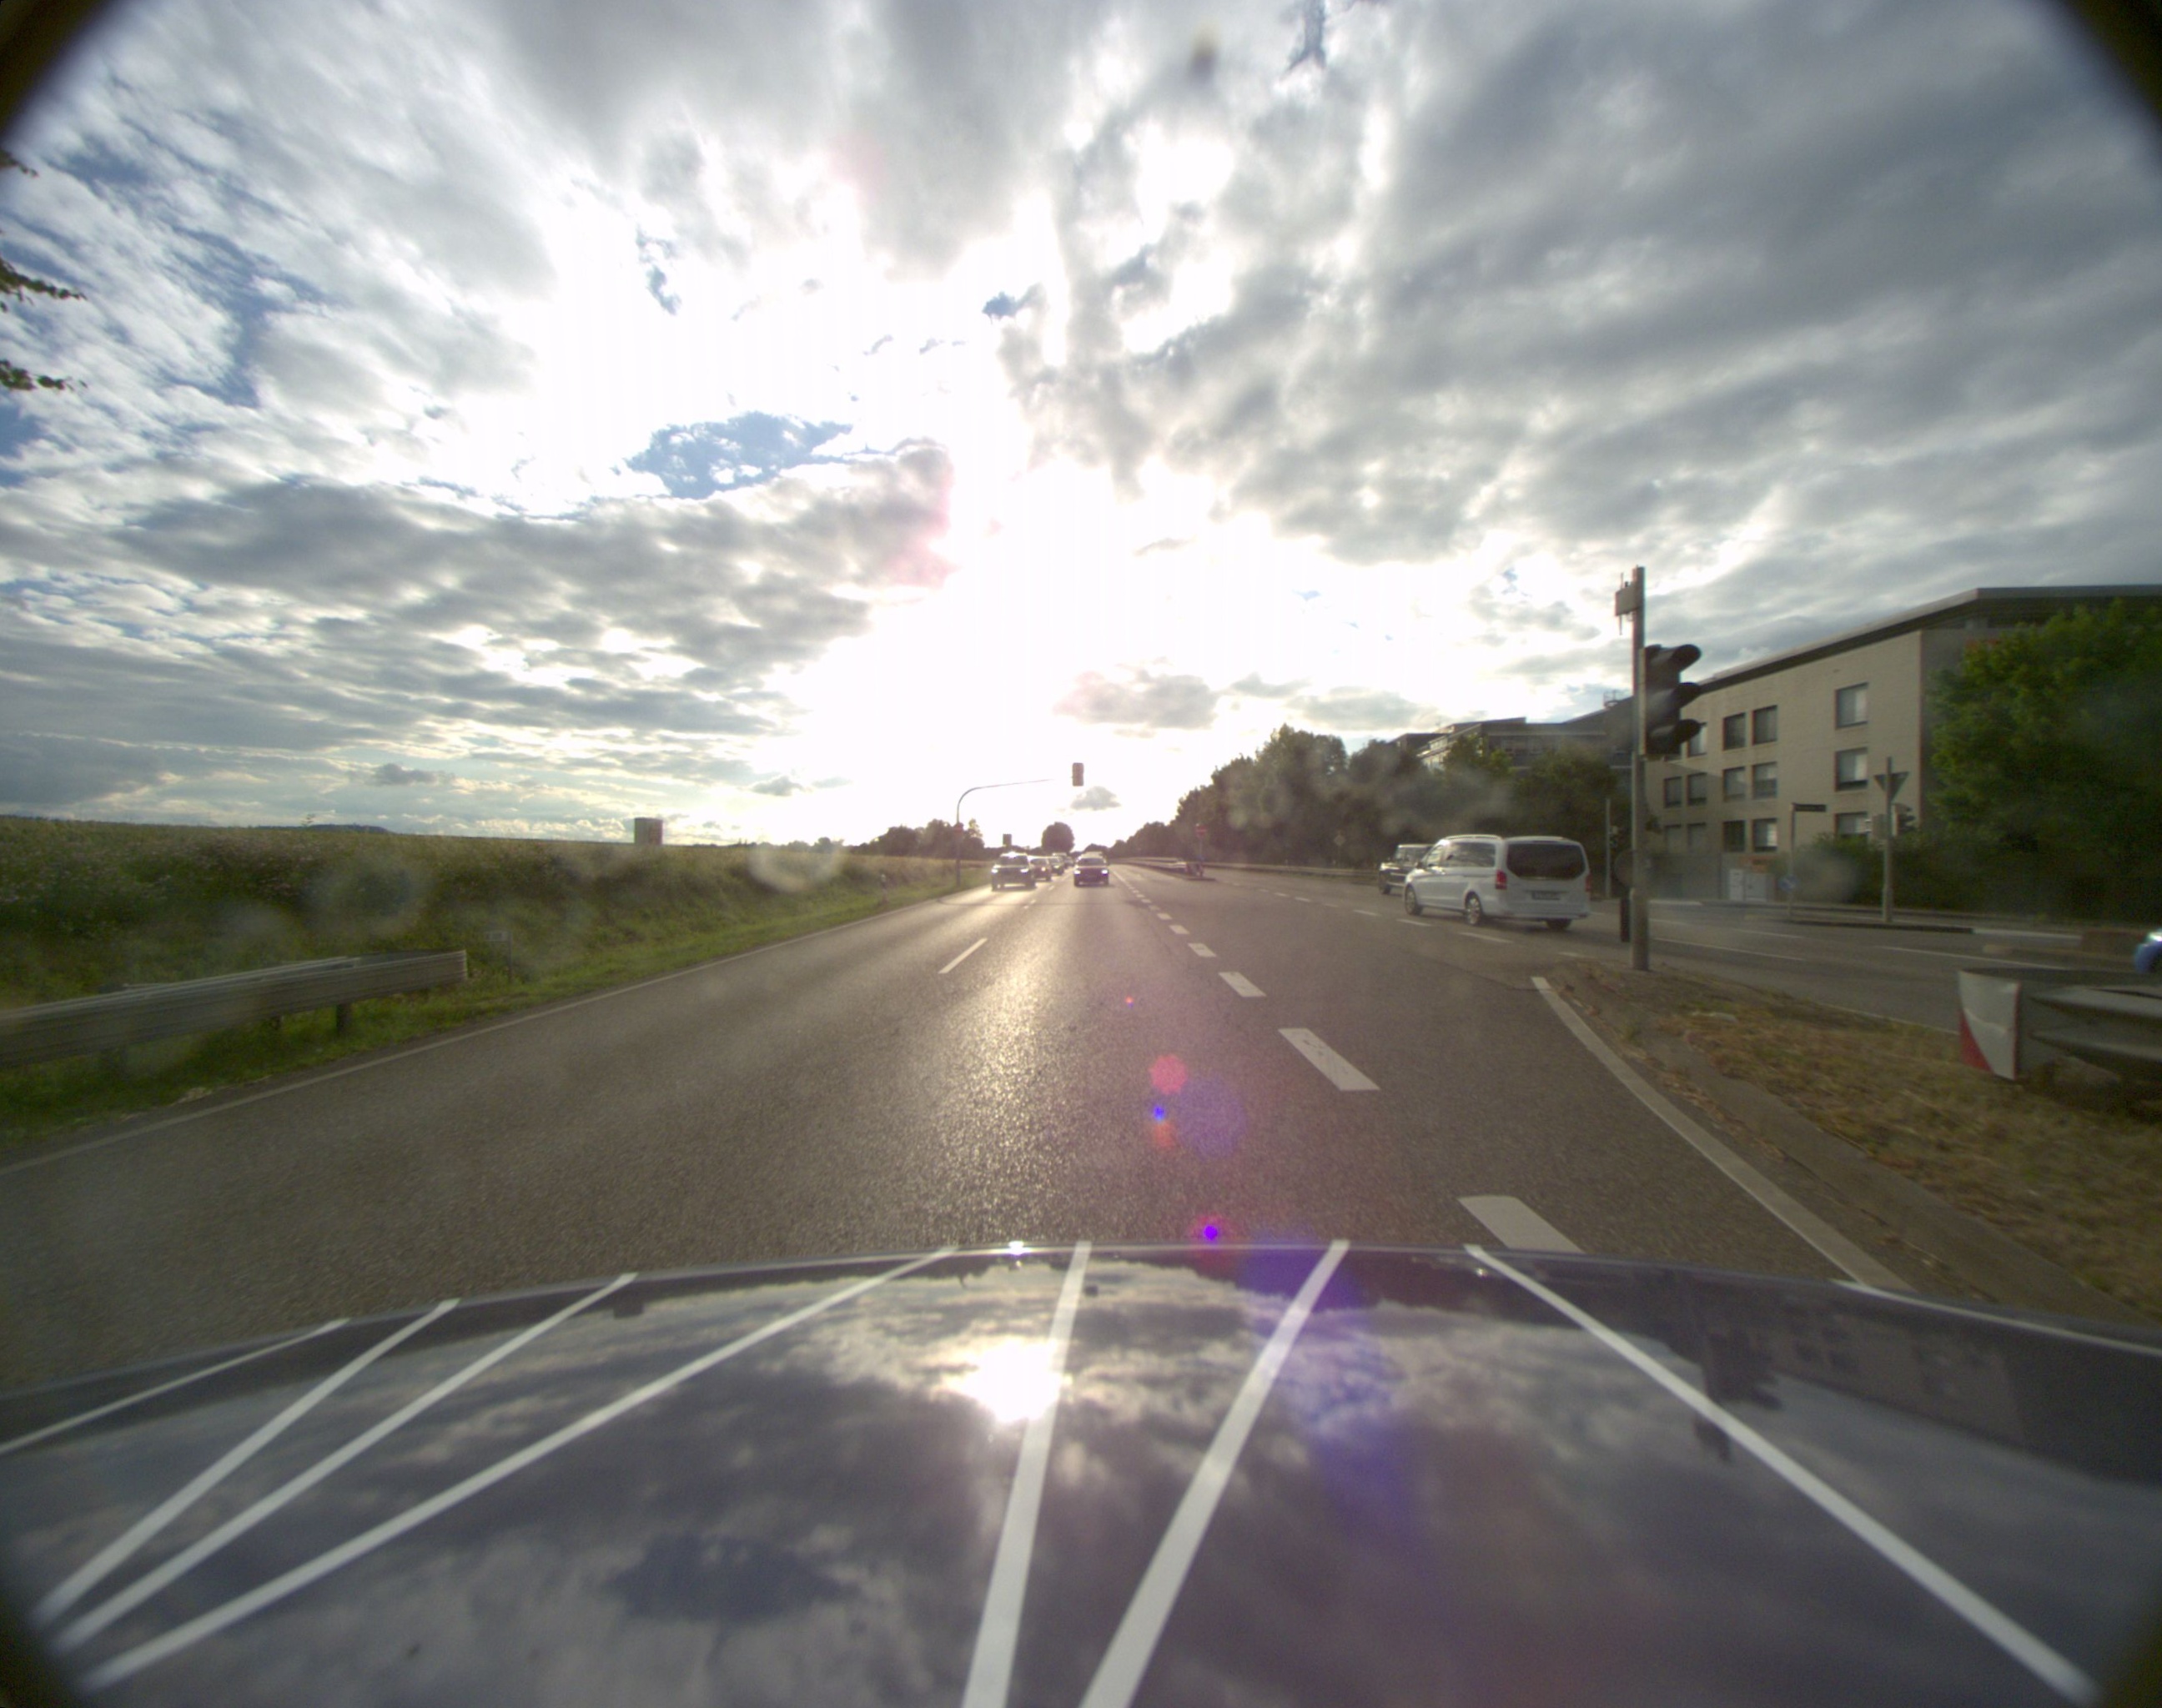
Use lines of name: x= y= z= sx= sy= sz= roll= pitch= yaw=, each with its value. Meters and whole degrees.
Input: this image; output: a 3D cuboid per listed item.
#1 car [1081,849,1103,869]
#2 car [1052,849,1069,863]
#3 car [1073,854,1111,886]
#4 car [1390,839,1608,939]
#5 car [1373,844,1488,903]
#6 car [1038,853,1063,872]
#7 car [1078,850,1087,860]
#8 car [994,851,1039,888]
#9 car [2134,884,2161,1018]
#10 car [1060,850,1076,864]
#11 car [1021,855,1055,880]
car: x=0.949 y=0.443 z=65.566 sx=1.786 sy=1.624 sz=3.866 roll=-1 pitch=0 yaw=2
car: x=-2.438 y=0.255 z=91.238 sx=1.949 sy=1.652 sz=4.000 roll=-1 pitch=0 yaw=0
car: x=0.600 y=0.753 z=37.268 sx=1.723 sy=1.467 sz=3.728 roll=-2 pitch=0 yaw=2
car: x=9.005 y=0.635 z=17.080 sx=1.939 sy=1.861 sz=5.346 roll=1 pitch=1 yaw=0
car: x=12.882 y=0.655 z=28.425 sx=1.939 sy=1.978 sz=5.090 roll=1 pitch=1 yaw=0
car: x=-2.333 y=0.649 z=59.706 sx=1.723 sy=1.467 sz=3.865 roll=-2 pitch=0 yaw=1
car: x=0.281 y=0.227 z=172.365 sx=1.999 sy=2.002 sz=3.999 roll=-2 pitch=1 yaw=0
car: x=-3.081 y=0.730 z=37.263 sx=1.723 sy=1.658 sz=4.419 roll=-2 pitch=0 yaw=1
car: x=12.021 y=1.041 z=5.992 sx=1.652 sy=1.380 sz=4.185 roll=1 pitch=1 yaw=2
car: x=-1.753 y=0.441 z=106.749 sx=1.998 sy=1.740 sz=4.000 roll=3 pitch=1 yaw=1
car: x=-2.620 y=0.813 z=46.962 sx=1.668 sy=1.467 sz=3.866 roll=-2 pitch=0 yaw=2
